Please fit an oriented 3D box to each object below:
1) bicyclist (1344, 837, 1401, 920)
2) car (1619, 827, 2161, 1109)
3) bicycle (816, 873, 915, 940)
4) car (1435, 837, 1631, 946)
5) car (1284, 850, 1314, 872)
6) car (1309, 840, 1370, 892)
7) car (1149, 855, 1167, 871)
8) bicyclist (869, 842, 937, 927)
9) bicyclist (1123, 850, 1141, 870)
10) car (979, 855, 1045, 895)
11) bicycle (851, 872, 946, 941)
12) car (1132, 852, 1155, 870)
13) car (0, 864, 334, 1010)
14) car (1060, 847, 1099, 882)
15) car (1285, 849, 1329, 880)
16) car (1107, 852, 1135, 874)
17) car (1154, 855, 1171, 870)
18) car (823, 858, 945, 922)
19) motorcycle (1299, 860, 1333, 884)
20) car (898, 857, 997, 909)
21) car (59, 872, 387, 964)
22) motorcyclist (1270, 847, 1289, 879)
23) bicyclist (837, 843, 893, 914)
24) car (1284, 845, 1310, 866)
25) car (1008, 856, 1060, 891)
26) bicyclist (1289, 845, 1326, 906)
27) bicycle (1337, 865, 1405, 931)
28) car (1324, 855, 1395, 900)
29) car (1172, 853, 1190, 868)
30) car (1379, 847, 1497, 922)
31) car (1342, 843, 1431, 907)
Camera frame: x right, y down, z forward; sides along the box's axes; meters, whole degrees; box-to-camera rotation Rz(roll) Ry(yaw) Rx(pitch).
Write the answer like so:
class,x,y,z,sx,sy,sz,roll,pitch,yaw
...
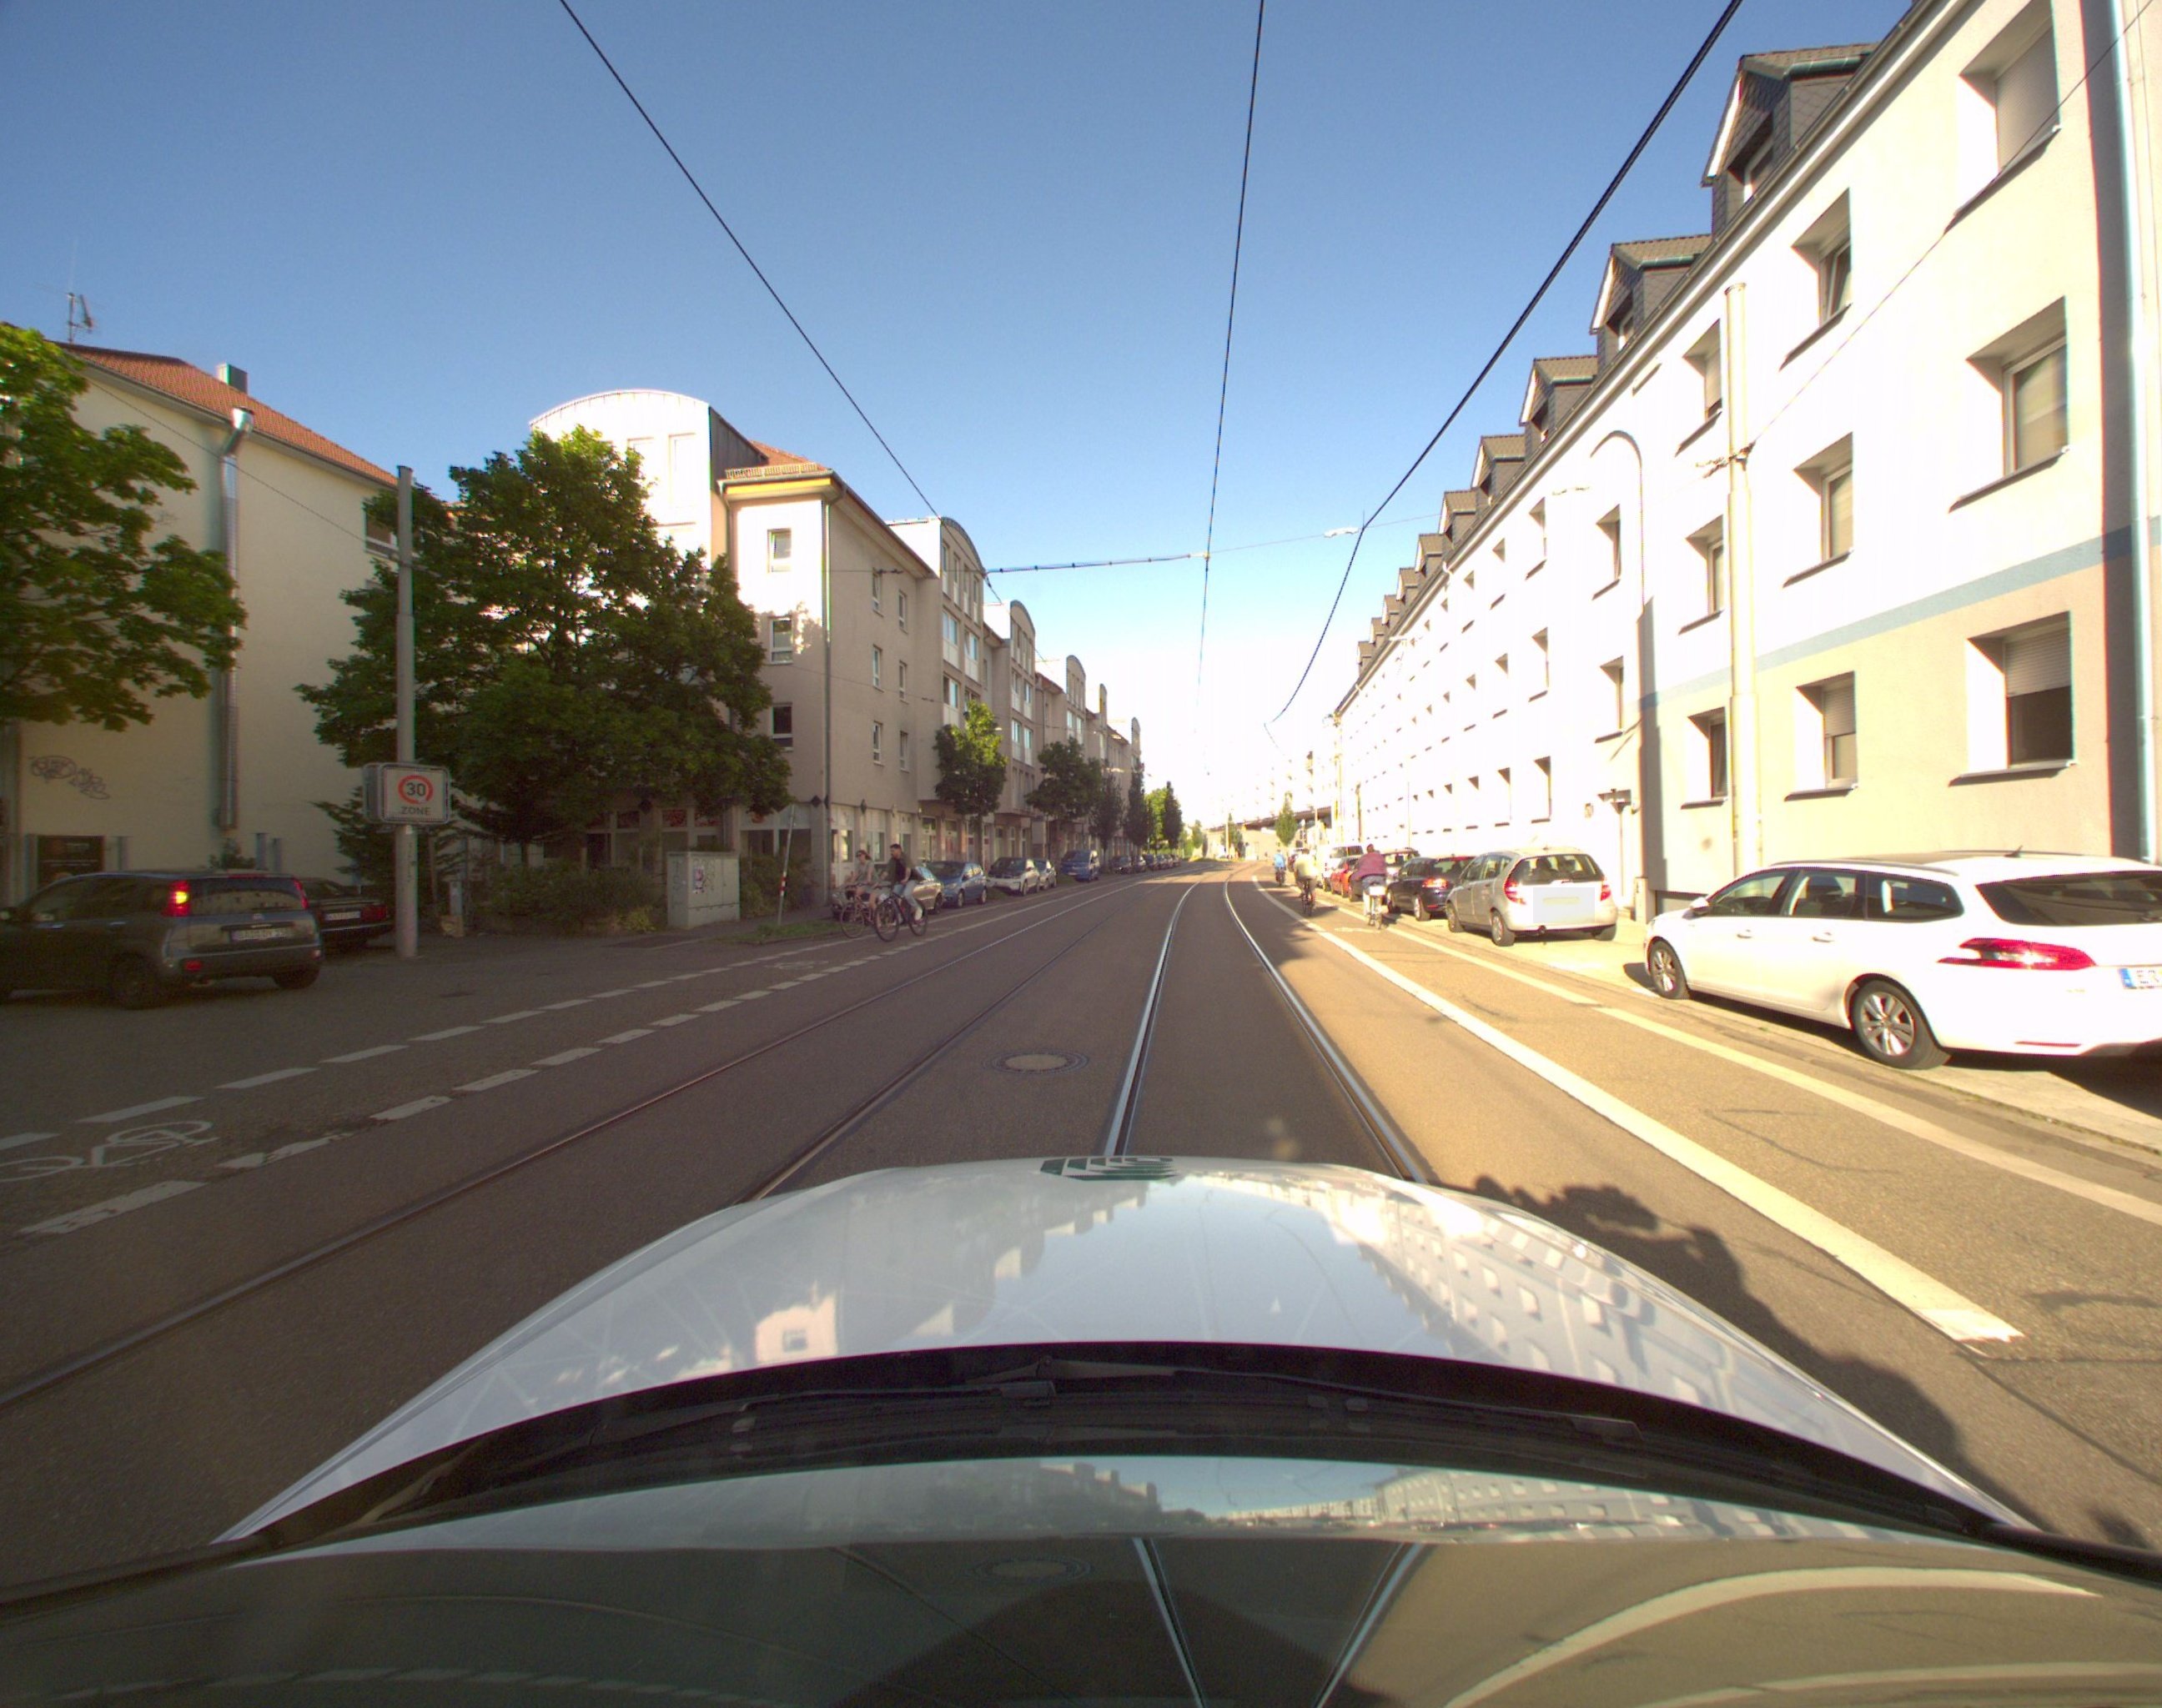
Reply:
class,x,y,z,sx,sy,sz,roll,pitch,yaw
bicyclist,6.141,0.505,17.221,0.929,1.676,0.971,-1,0,7
car,6.620,0.635,6.833,1.670,1.571,4.519,-3,0,8
bicycle,-4.424,1.048,16.945,0.832,1.149,2.243,-6,-1,17
car,7.849,0.578,14.594,1.744,1.571,3.914,-4,0,9
car,17.069,0.548,63.990,1.833,1.646,3.975,-1,0,9
car,10.837,0.477,34.398,1.776,1.970,4.165,-3,0,9
car,7.867,0.875,82.789,1.582,1.540,3.199,-1,0,9
bicyclist,-3.445,0.573,15.855,0.875,1.561,0.872,-4,-1,16
bicyclist,3.574,0.419,56.880,1.177,1.330,1.097,-1,0,6
car,-2.929,0.876,35.410,1.818,1.593,4.011,-1,0,10
bicycle,-3.476,0.980,15.792,0.833,1.149,2.241,-2,0,14
car,6.047,0.660,78.842,1.833,1.646,4.560,-1,0,9
car,-11.098,0.936,9.620,3.453,1.533,1.566,-2,-2,11
car,-0.038,0.608,49.278,1.655,1.986,4.355,-1,0,10
car,12.643,0.570,45.702,1.833,1.646,4.560,-1,0,9
car,3.188,0.705,64.513,1.655,1.618,4.011,-1,0,10
car,8.716,0.893,86.965,1.582,1.540,3.199,-1,0,9
car,-5.043,0.858,21.392,1.734,1.443,4.009,1,0,8
motorcycle,11.510,0.888,39.937,0.494,1.144,1.753,-1,0,-32
car,-4.371,0.917,27.289,1.817,1.489,4.014,-3,0,13
car,-14.579,1.061,13.911,4.524,1.388,1.719,-1,-1,12
motorcyclist,9.056,0.404,37.182,0.724,1.405,1.023,-1,0,7
bicyclist,-4.475,0.496,16.916,0.618,1.380,0.872,-6,-1,18
car,19.443,0.145,73.489,1.833,1.756,4.560,-1,0,9
car,-2.250,0.903,40.043,1.819,1.593,4.009,-1,0,8
bicyclist,5.652,0.528,20.349,0.724,1.462,1.023,-1,0,7
bicycle,6.187,0.888,17.544,0.816,1.236,2.467,3,0,7
car,10.068,0.800,29.666,1.785,1.483,3.788,-1,0,9
car,11.411,0.692,92.567,1.833,1.646,3.706,-1,0,9
car,8.428,0.654,19.581,1.582,1.537,4.018,-3,0,9
car,9.175,0.579,24.742,1.651,1.669,3.913,-5,0,9
